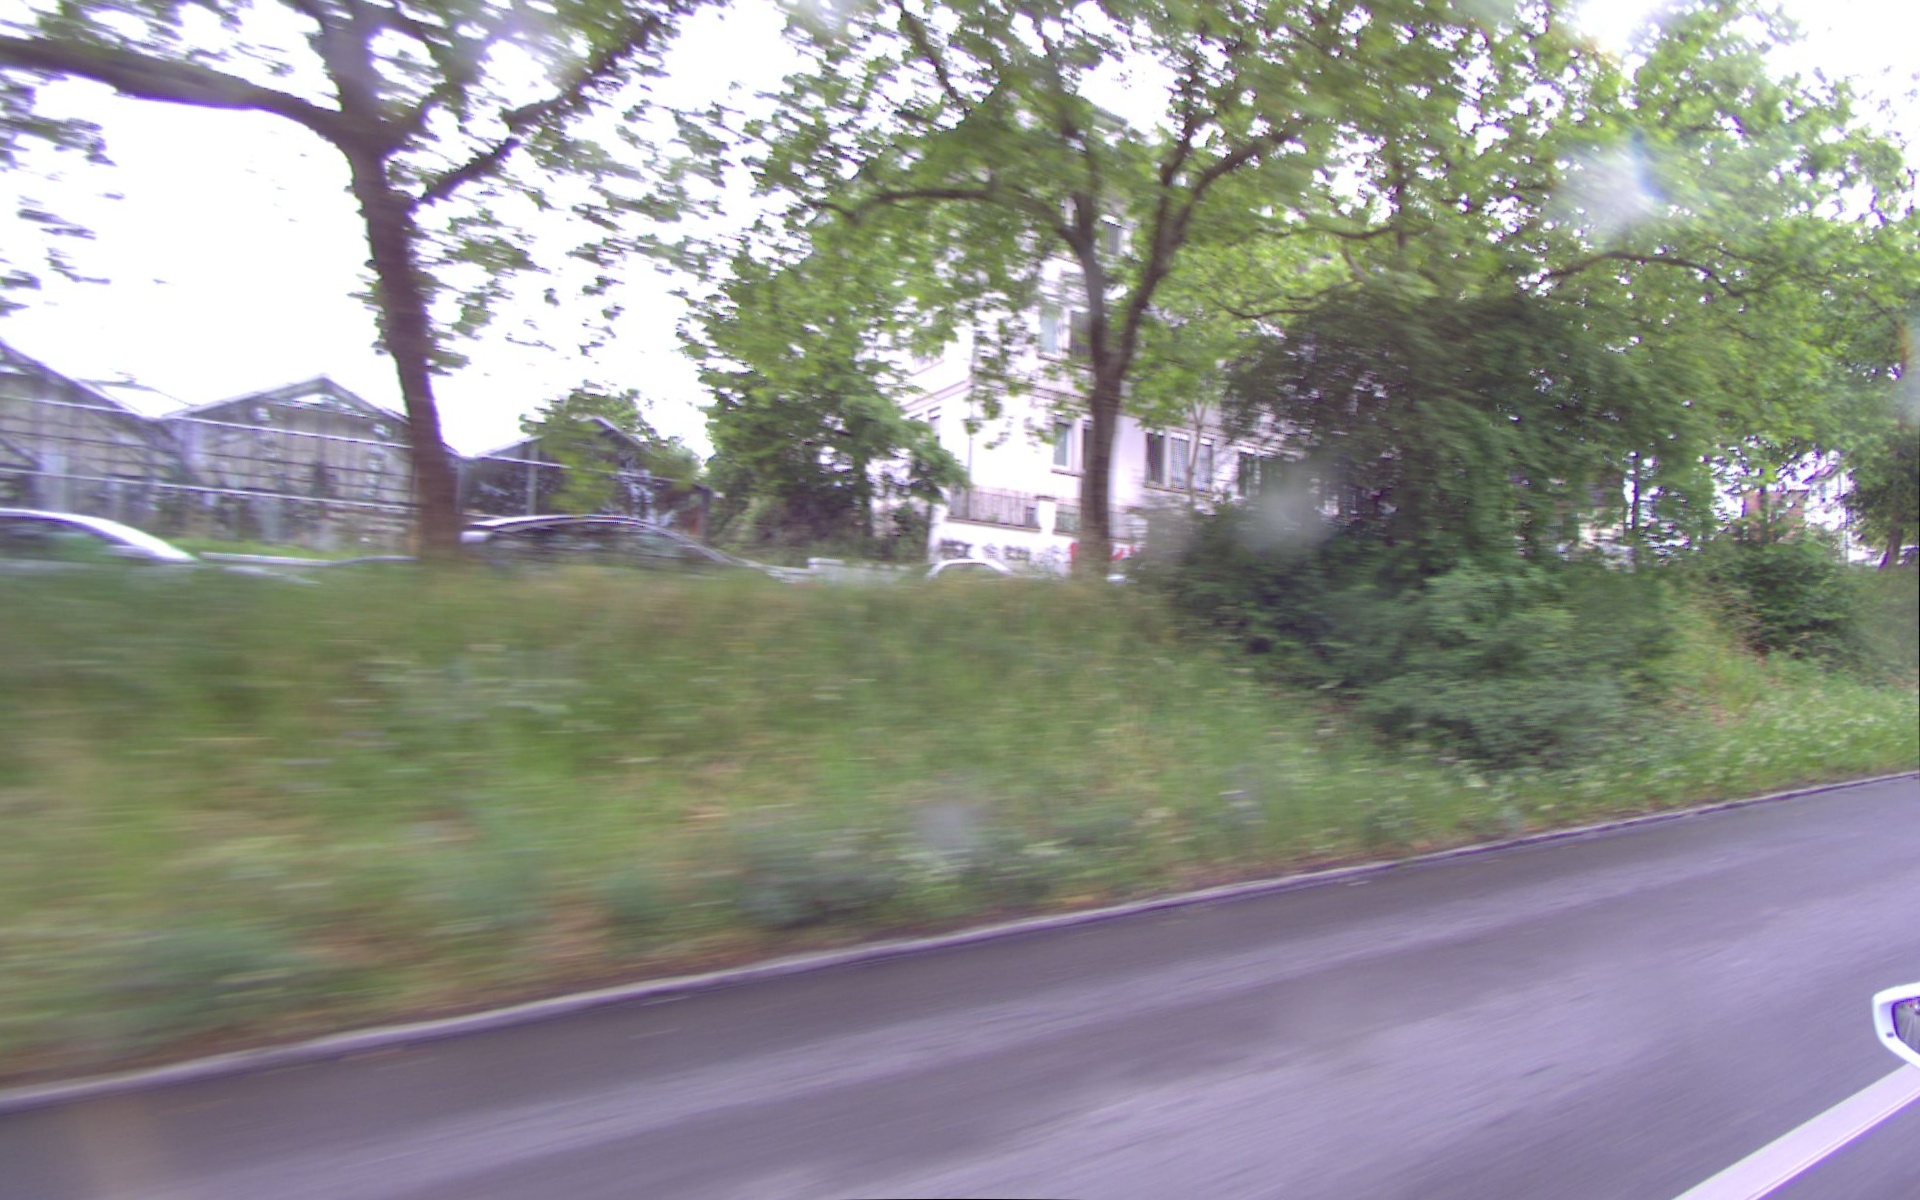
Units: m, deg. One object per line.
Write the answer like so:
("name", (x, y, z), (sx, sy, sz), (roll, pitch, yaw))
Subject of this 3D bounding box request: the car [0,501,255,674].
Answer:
("car", (-8.545, -0.094, 9.066), (3.409, 1.422, 1.693), (4, -4, -33))

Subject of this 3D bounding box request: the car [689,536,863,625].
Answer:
("car", (-3.608, -0.325, 19.786), (3.019, 1.476, 1.427), (4, -4, -31))

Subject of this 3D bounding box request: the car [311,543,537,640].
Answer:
("car", (-8.605, -0.068, 16.267), (3.051, 1.326, 1.354), (4, -4, -30))
